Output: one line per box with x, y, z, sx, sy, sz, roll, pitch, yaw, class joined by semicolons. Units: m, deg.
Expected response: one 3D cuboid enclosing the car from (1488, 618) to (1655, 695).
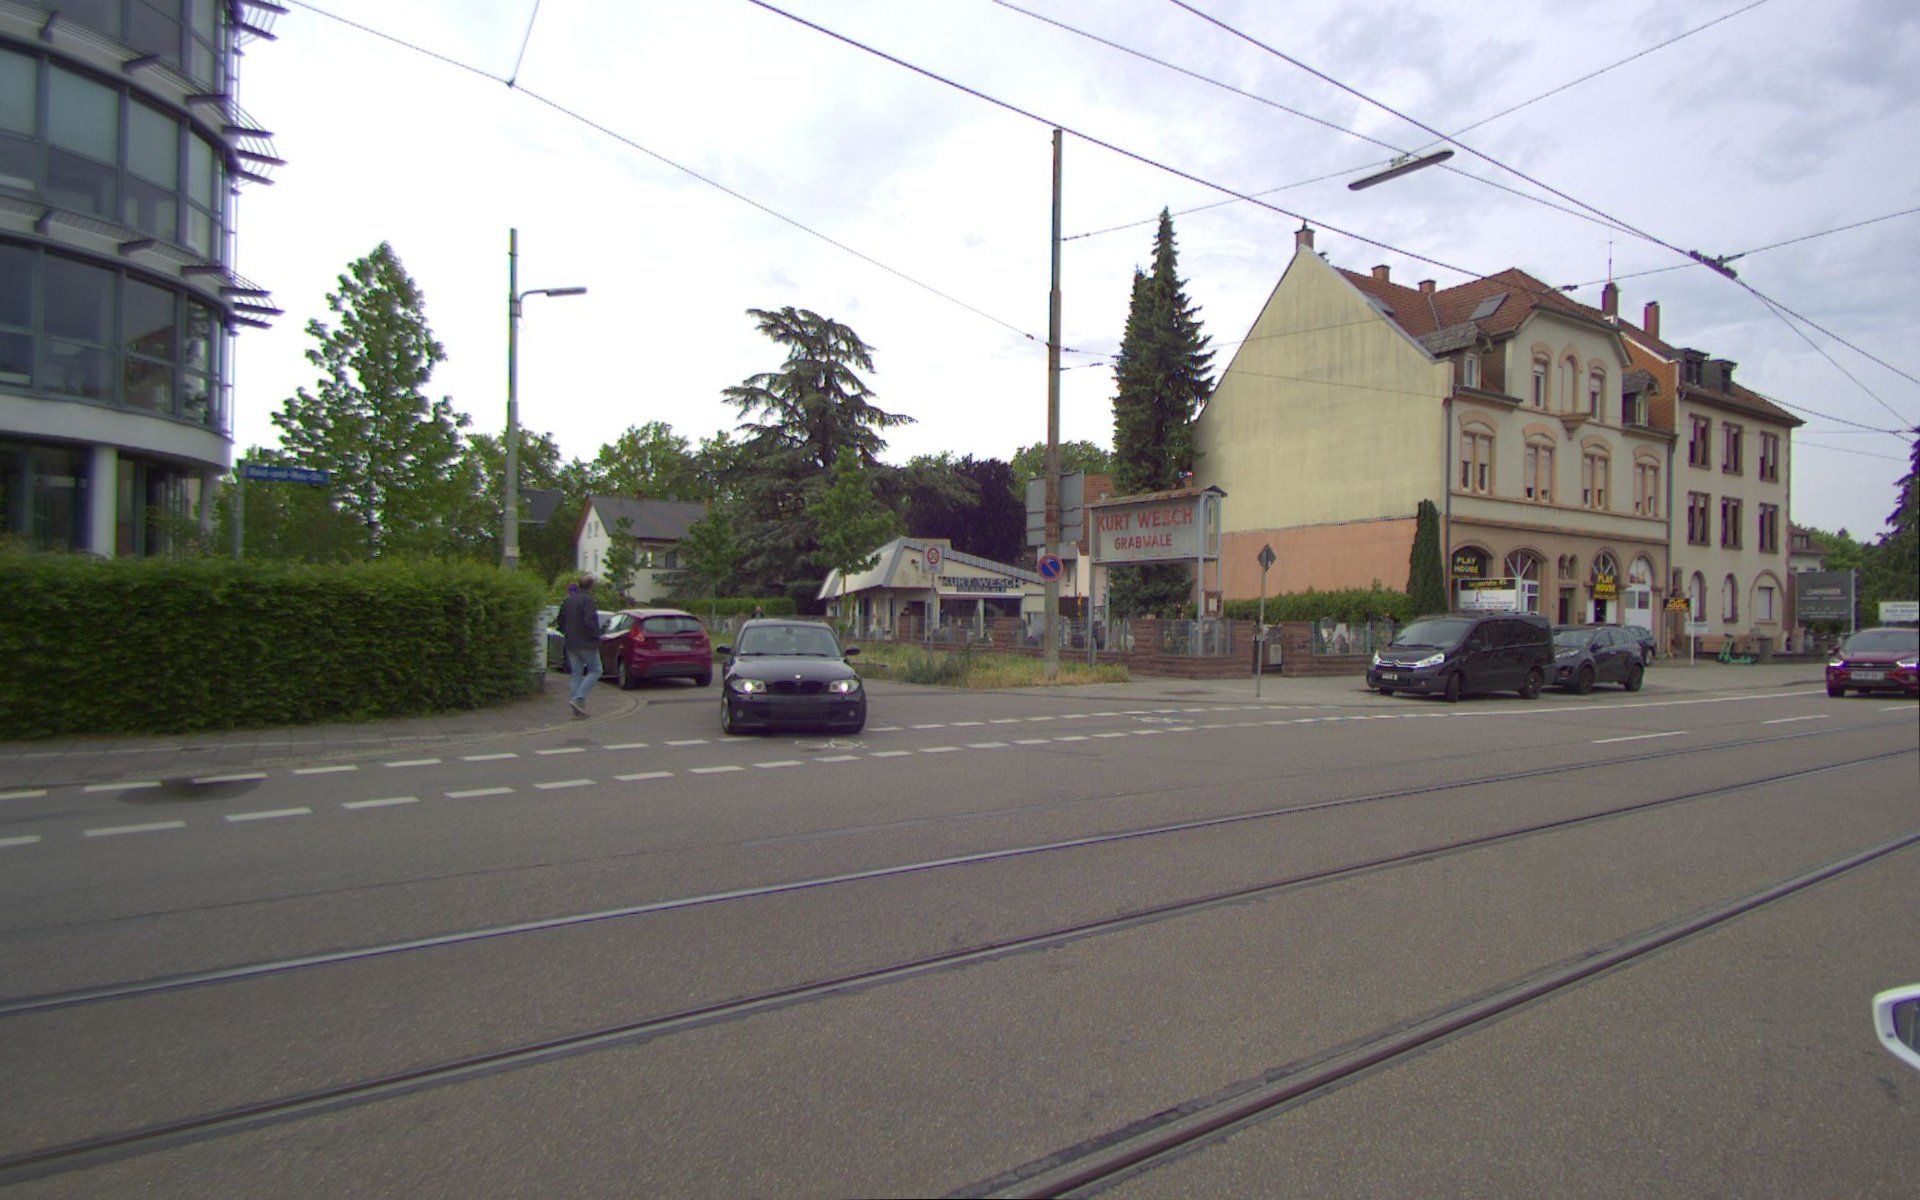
15.977;1.396;26.194;4.487;1.773;2.024;1;1;-34;car

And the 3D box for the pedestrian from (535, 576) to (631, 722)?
-5.025;0.631;13.370;1.047;1.849;0.800;2;0;-30;pedestrian

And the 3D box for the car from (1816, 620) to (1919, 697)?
22.988;1.399;24.924;4.368;1.747;1.828;2;-1;-38;car

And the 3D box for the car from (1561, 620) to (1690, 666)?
23.558;1.515;35.519;4.848;1.512;1.983;2;-1;-32;car

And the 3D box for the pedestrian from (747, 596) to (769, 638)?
-8.824;0.743;43.922;0.752;1.798;0.631;2;0;-28;pedestrian

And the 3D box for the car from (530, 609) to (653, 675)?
-8.717;0.929;23.597;1.761;1.367;4.009;2;-1;-35;car

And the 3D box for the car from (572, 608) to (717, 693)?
-6.291;0.909;19.768;1.707;1.441;3.983;-1;0;-33;car

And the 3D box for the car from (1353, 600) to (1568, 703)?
11.400;1.126;22.774;5.129;2.040;1.975;2;1;-33;car

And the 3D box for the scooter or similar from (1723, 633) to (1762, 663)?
31.653;1.935;40.657;1.157;1.116;0.527;1;0;30;scooter or similar

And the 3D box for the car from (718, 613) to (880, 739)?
-2.336;0.916;13.656;1.758;1.387;4.100;2;0;-15;car

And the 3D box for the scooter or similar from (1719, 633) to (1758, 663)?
31.054;1.914;40.075;1.157;1.116;0.527;1;0;30;scooter or similar
